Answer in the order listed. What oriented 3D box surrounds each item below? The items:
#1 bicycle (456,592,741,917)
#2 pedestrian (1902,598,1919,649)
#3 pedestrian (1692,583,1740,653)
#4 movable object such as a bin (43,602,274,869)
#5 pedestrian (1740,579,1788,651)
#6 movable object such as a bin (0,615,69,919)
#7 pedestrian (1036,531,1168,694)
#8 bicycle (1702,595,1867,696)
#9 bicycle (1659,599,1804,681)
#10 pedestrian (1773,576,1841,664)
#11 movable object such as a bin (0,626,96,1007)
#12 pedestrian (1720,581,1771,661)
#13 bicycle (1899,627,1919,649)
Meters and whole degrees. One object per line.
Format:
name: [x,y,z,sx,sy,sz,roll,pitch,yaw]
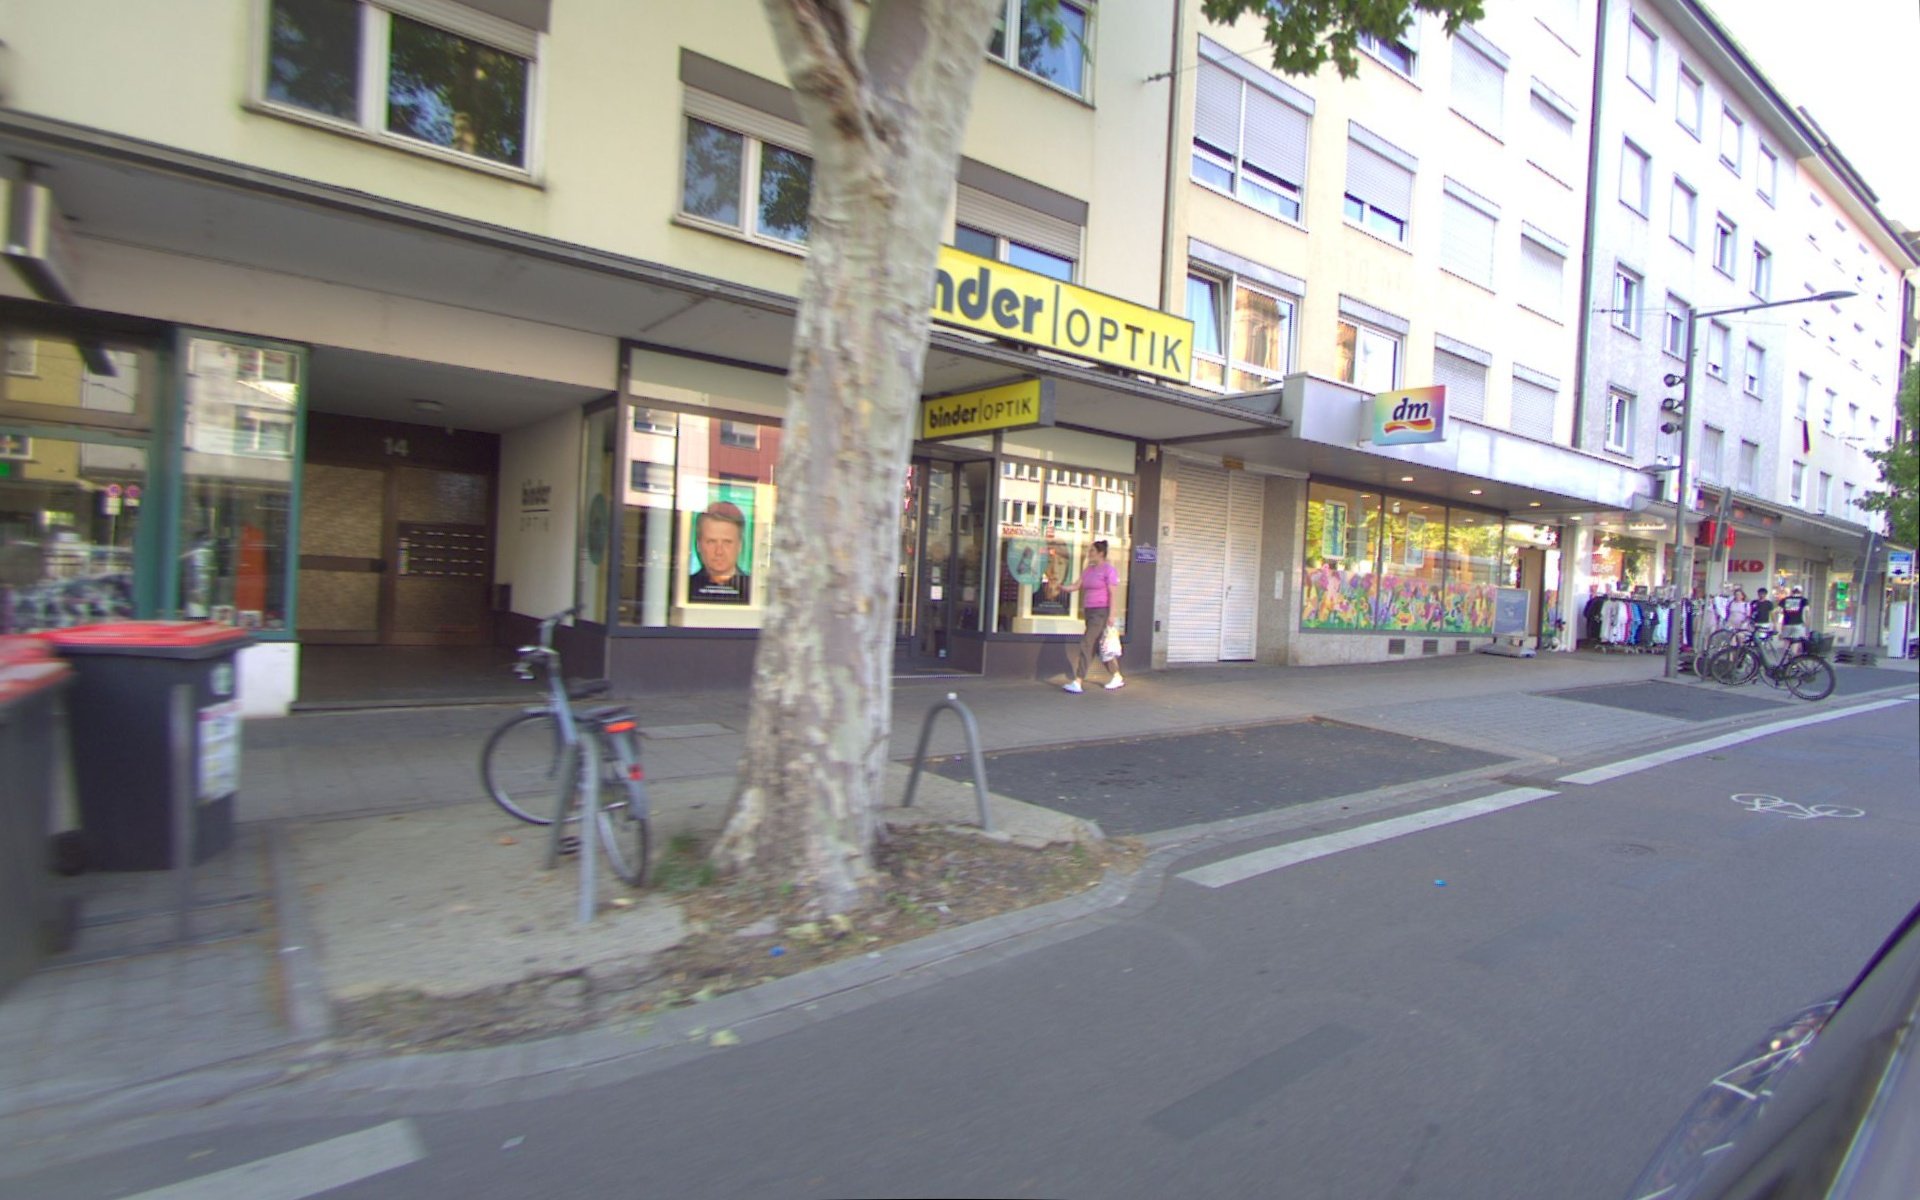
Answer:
bicycle: [-1.724,0.566,4.647,0.732,1.131,1.723,-3,3,-37]
pedestrian: [30.339,0.752,32.052,0.636,1.586,0.491,2,3,-36]
pedestrian: [17.029,0.409,22.796,0.879,1.520,0.542,2,3,-37]
movable object such as a bin: [-3.688,0.584,4.716,0.630,1.085,0.726,2,3,-19]
pedestrian: [19.717,0.376,24.815,1.050,1.695,0.570,1,3,-37]
movable object such as a bin: [-3.936,0.634,3.968,0.632,1.085,0.724,0,4,-39]
pedestrian: [1.661,0.113,11.903,1.112,1.784,0.971,0,3,-37]
bicycle: [13.131,0.694,16.188,0.679,1.327,1.798,2,6,-25]
bicycle: [13.326,0.666,17.550,1.776,1.137,0.658,8,6,26]
pedestrian: [18.463,0.435,22.070,0.913,1.821,0.776,2,4,-36]
movable object such as a bin: [-3.370,0.691,3.365,0.631,1.115,0.726,1,5,-31]
pedestrian: [16.939,0.447,21.830,0.879,1.648,0.548,2,3,-37]
bicycle: [28.897,1.161,30.245,0.832,0.579,1.742,4,2,30]
